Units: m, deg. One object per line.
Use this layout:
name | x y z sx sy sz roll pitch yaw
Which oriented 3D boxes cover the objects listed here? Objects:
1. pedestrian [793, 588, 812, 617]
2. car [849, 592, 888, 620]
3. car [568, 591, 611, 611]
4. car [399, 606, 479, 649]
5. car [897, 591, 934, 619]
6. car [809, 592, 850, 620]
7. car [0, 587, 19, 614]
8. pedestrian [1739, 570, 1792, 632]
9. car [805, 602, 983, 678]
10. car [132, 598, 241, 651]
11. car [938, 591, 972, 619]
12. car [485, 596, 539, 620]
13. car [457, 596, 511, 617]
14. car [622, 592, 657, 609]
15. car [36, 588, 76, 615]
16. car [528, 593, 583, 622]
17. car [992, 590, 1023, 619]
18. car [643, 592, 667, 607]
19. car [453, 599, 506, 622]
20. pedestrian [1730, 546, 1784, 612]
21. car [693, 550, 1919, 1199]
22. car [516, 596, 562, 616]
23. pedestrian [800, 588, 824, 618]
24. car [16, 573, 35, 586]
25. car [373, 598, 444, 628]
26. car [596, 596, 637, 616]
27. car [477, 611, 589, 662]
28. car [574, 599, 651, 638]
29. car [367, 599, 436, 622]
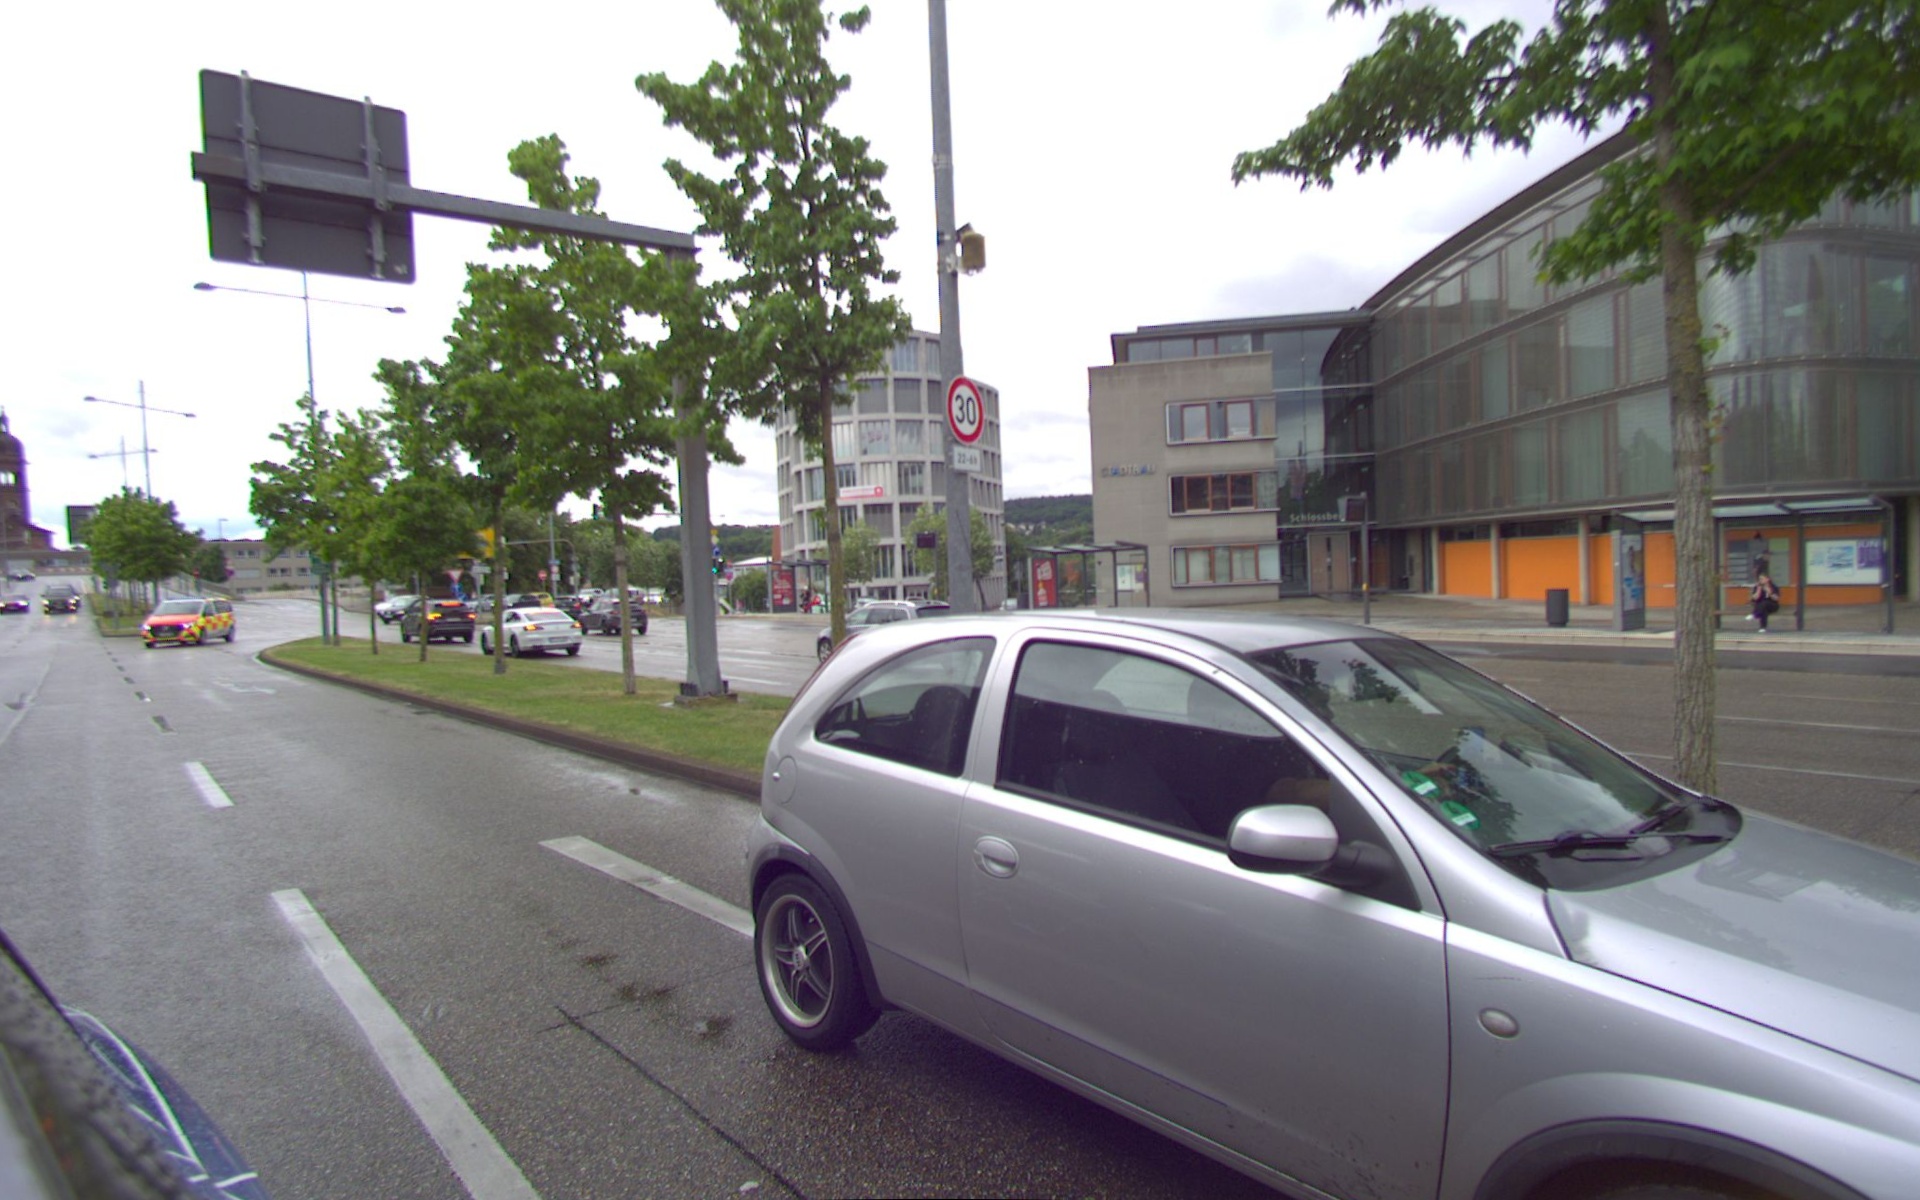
pedestrian | -8.131 0.142 52.280 0.721 1.501 0.736 0 0 -33
car | -5.809 0.345 64.373 1.853 1.715 4.152 0 0 4
car | -32.348 0.096 88.431 1.853 1.646 4.294 0 0 5
car | -20.309 1.015 39.363 1.979 1.566 4.173 -1 0 -38
car | -2.796 0.305 64.163 1.853 1.714 4.152 -1 0 4
car | -8.277 0.367 64.655 1.853 1.715 4.152 0 0 4
car | -73.912 0.026 78.005 1.970 2.029 4.003 -1 0 -44
pedestrian | 17.190 0.018 21.592 0.658 1.309 0.721 0 0 -36
car | -1.567 0.802 22.319 1.673 1.477 4.461 -1 0 -38
car | -31.586 0.947 41.511 1.966 2.029 5.077 -1 0 -18
car | -0.266 0.295 64.477 1.853 1.715 4.152 0 0 4
car | -32.658 0.568 73.851 1.853 1.715 4.151 0 0 5
car | -38.960 0.532 82.962 1.858 1.646 4.141 -1 0 12
car | -31.988 0.020 101.159 1.853 1.646 4.150 0 0 5
car | -68.989 0.099 77.233 4.001 2.029 1.971 0 0 44
car | -22.751 0.412 56.833 1.856 1.566 4.010 -1 0 -38
car | 3.028 0.267 63.700 1.853 1.715 4.152 0 0 4
car | -33.375 -0.031 110.877 1.848 1.646 4.164 -1 0 -7
car | -37.092 0.817 78.173 1.853 1.715 4.151 0 0 5
pedestrian | 21.908 -0.573 27.829 0.773 1.769 0.828 -3 0 -16
car | 0.930 0.676 2.733 1.674 1.477 3.725 -1 0 -42
car | -35.811 0.464 86.196 1.853 1.646 4.294 0 0 5
pedestrian | -7.514 0.138 51.451 0.968 1.501 0.736 0 0 -31
car | -122.632 -2.697 132.800 3.651 1.572 1.528 0 0 44
car | -33.379 0.760 61.350 1.853 1.715 4.152 0 0 4
car | -29.121 0.477 85.942 1.853 1.646 4.151 0 0 5
car | -12.778 1.021 30.171 1.979 1.363 4.172 -1 0 -39
car | -14.629 0.742 42.529 1.856 1.566 4.010 -1 0 -38
car | -39.921 0.748 72.387 1.803 1.571 4.014 0 0 26
